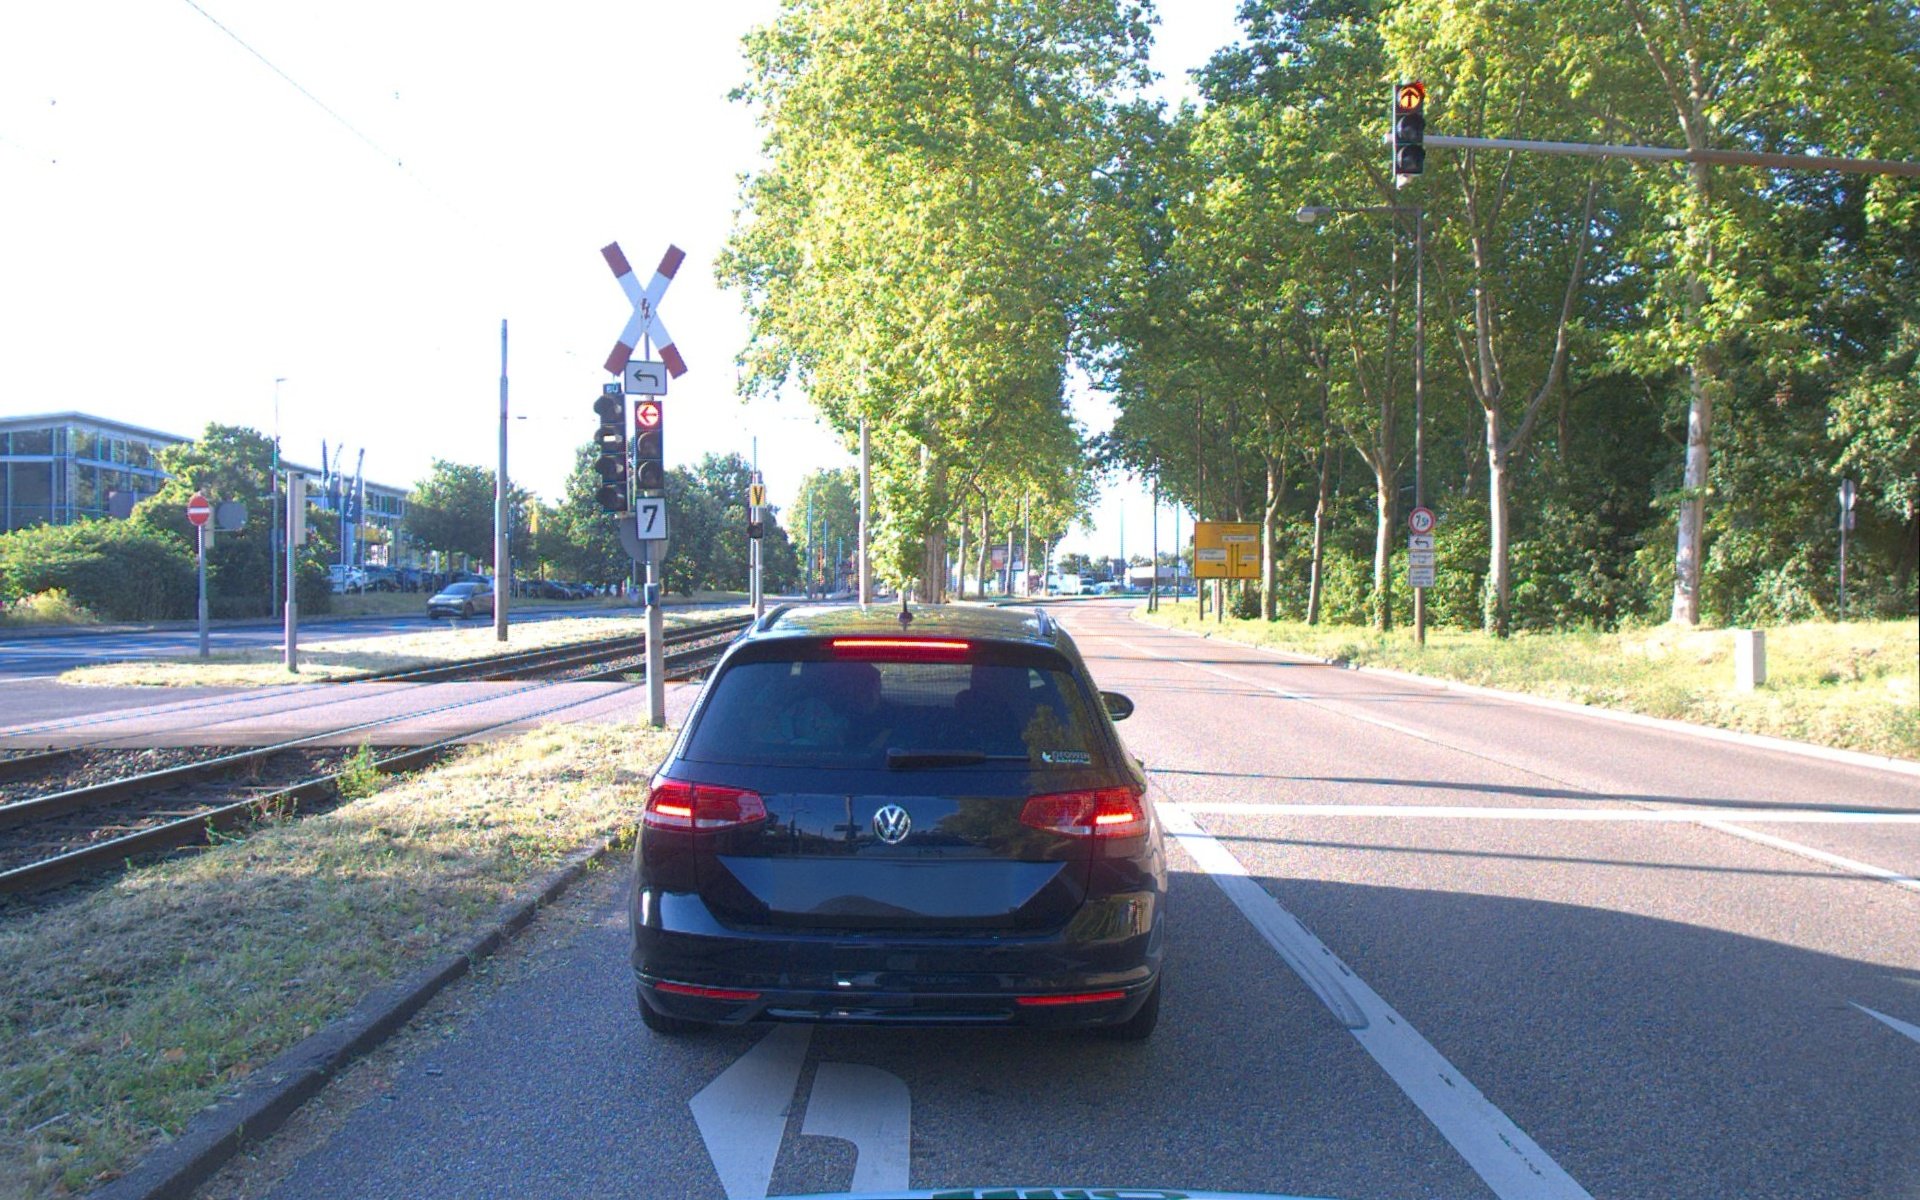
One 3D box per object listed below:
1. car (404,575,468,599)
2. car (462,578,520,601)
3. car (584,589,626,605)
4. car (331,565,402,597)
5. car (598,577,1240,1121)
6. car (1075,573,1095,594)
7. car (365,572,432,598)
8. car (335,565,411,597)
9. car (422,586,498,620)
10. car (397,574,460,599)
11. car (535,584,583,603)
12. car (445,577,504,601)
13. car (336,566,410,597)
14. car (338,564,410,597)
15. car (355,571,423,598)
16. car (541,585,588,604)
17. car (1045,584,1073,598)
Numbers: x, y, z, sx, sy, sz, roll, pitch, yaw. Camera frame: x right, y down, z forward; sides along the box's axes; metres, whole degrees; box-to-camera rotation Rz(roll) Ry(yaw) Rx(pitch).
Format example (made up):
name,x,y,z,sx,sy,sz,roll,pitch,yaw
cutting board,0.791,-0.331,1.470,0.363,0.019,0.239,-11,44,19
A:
name,x,y,z,sx,sy,sz,roll,pitch,yaw
car,-36.041,-0.862,113.800,3.913,1.583,1.740,1,0,-9
car,-35.242,-0.764,124.471,3.909,1.649,1.742,1,0,-6
car,-35.964,-0.334,167.435,3.909,1.583,1.742,1,0,-5
car,-35.551,-1.147,99.017,3.930,1.848,1.732,1,0,-22
car,-0.145,0.691,6.390,1.758,1.490,3.582,1,0,-1
car,15.807,-2.083,209.355,2.052,2.504,5.853,1,1,0
car,-35.545,-0.949,104.711,3.930,1.583,1.732,1,0,-22
car,-32.913,-1.041,92.715,3.930,1.734,1.732,1,0,-22
car,-23.415,0.129,77.575,1.822,1.507,4.175,1,1,8
car,-35.709,-0.882,111.106,3.930,1.583,1.732,1,0,-22
car,-35.221,-0.558,145.373,3.909,1.649,1.742,1,0,-6
car,-35.572,-0.805,121.255,3.909,1.649,1.742,1,0,-6
car,-33.696,-1.051,94.954,3.930,1.734,1.732,1,0,-22
car,-34.444,-1.114,97.279,3.930,1.848,1.732,1,0,-22
car,-35.204,-0.975,101.932,3.930,1.583,1.732,1,0,-22
car,-35.518,-0.532,148.531,3.909,1.649,1.742,1,0,-6
car,10.602,-0.970,177.100,1.824,1.507,4.092,1,1,21
